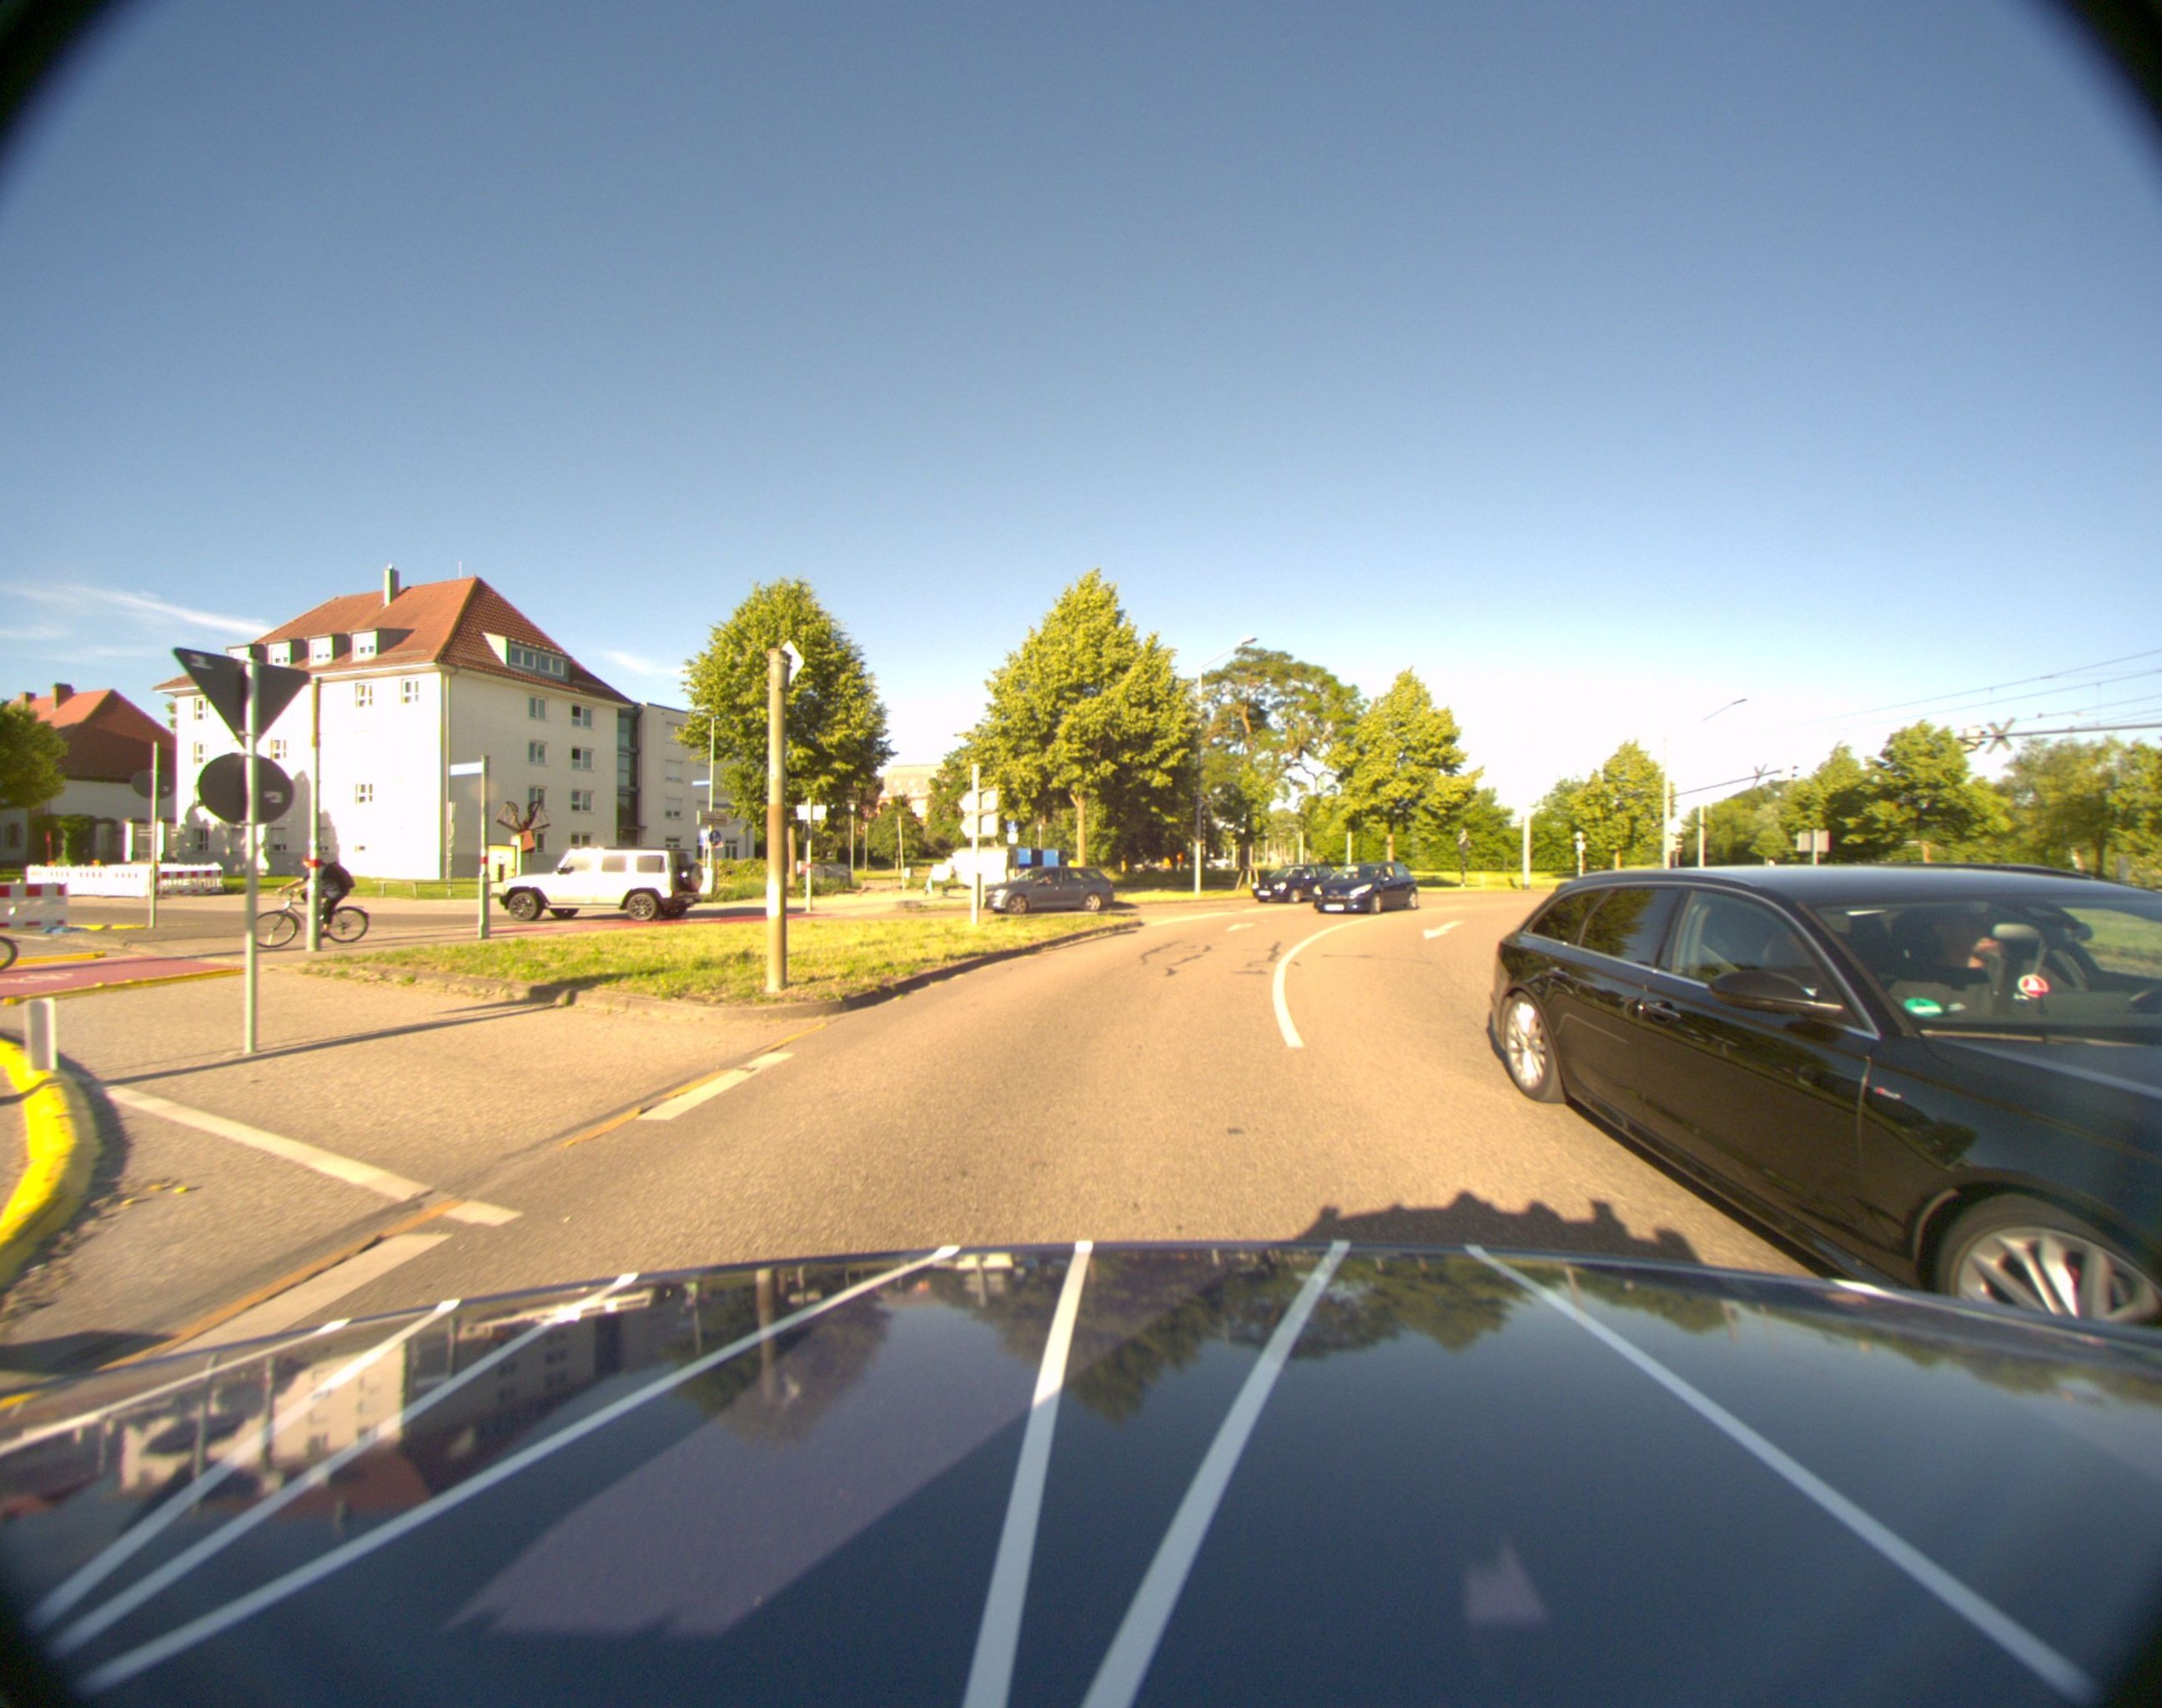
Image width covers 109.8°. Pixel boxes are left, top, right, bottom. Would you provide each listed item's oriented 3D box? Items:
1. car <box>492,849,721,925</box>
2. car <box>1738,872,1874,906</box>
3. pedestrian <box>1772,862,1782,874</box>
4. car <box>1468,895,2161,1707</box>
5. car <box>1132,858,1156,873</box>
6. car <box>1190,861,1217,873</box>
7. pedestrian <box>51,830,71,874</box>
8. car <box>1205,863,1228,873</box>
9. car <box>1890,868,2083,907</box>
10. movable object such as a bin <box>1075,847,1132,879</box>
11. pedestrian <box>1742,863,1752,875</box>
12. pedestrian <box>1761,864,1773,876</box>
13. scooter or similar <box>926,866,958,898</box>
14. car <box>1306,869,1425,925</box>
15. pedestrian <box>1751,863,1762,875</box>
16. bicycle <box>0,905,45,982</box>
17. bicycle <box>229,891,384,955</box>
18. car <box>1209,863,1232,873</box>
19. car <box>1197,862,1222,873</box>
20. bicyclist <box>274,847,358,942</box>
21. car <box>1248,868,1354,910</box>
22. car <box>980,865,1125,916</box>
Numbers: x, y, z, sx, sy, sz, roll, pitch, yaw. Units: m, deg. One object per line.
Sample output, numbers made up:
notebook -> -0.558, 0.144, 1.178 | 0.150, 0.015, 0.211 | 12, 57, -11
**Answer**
car -> -12.421, 0.829, 20.183 | 4.751, 1.886, 2.002 | 0, 0, -6
car -> 31.506, 1.511, 33.101 | 4.064, 1.371, 1.726 | -1, -2, 5
pedestrian -> 81.650, 1.646, 89.110 | 0.796, 1.432, 0.660 | 1, 0, -27
car -> 3.309, 0.999, 2.931 | 1.795, 1.434, 5.021 | -1, -1, 10
car -> 11.331, 2.093, 136.649 | 3.992, 2.636, 2.003 | -1, -1, 17
car -> 20.176, 2.144, 124.989 | 3.992, 1.745, 1.917 | -1, -2, 17
pedestrian -> -47.025, -0.099, 35.024 | 0.453, 2.002, 0.472 | 1, 0, 27
car -> 24.995, 2.532, 140.175 | 3.992, 1.745, 1.917 | -1, -2, 17
car -> 34.179, 1.261, 28.831 | 4.530, 1.371, 1.939 | -1, -2, 9
movable object such as a bin -> 2.109, 0.850, 70.125 | 5.041, 2.771, 2.002 | -1, -1, 7
pedestrian -> 79.854, 1.787, 91.127 | 0.796, 1.432, 0.685 | 1, 0, -27
pedestrian -> 80.843, 1.870, 89.552 | 0.796, 1.432, 0.772 | 1, 0, -27
scooter or similar -> -5.616, 1.126, 30.699 | 0.443, 1.240, 1.267 | -2, -1, 41
car -> 8.399, 1.186, 22.259 | 1.753, 1.445, 4.009 | -1, -1, 45
pedestrian -> 80.032, 1.756, 90.022 | 0.796, 1.432, 0.685 | 1, 0, -27
bicycle -> -15.039, 1.221, 9.840 | 0.659, 1.021, 1.825 | -1, -1, 7
bicycle -> -13.844, 1.196, 13.646 | 0.658, 1.021, 1.827 | -1, -1, 26
car -> 26.783, 2.674, 145.768 | 3.992, 1.745, 1.917 | -1, -2, 17
car -> 22.248, 2.311, 131.524 | 3.992, 1.745, 1.917 | -1, -2, 17
bicyclist -> -13.818, 0.717, 13.737 | 0.658, 1.655, 0.901 | -1, -1, 26
car -> 8.499, 1.285, 29.153 | 4.555, 1.459, 1.633 | 0, 0, -40
car -> -0.869, 1.074, 23.494 | 4.158, 1.427, 1.716 | 0, 0, -28
